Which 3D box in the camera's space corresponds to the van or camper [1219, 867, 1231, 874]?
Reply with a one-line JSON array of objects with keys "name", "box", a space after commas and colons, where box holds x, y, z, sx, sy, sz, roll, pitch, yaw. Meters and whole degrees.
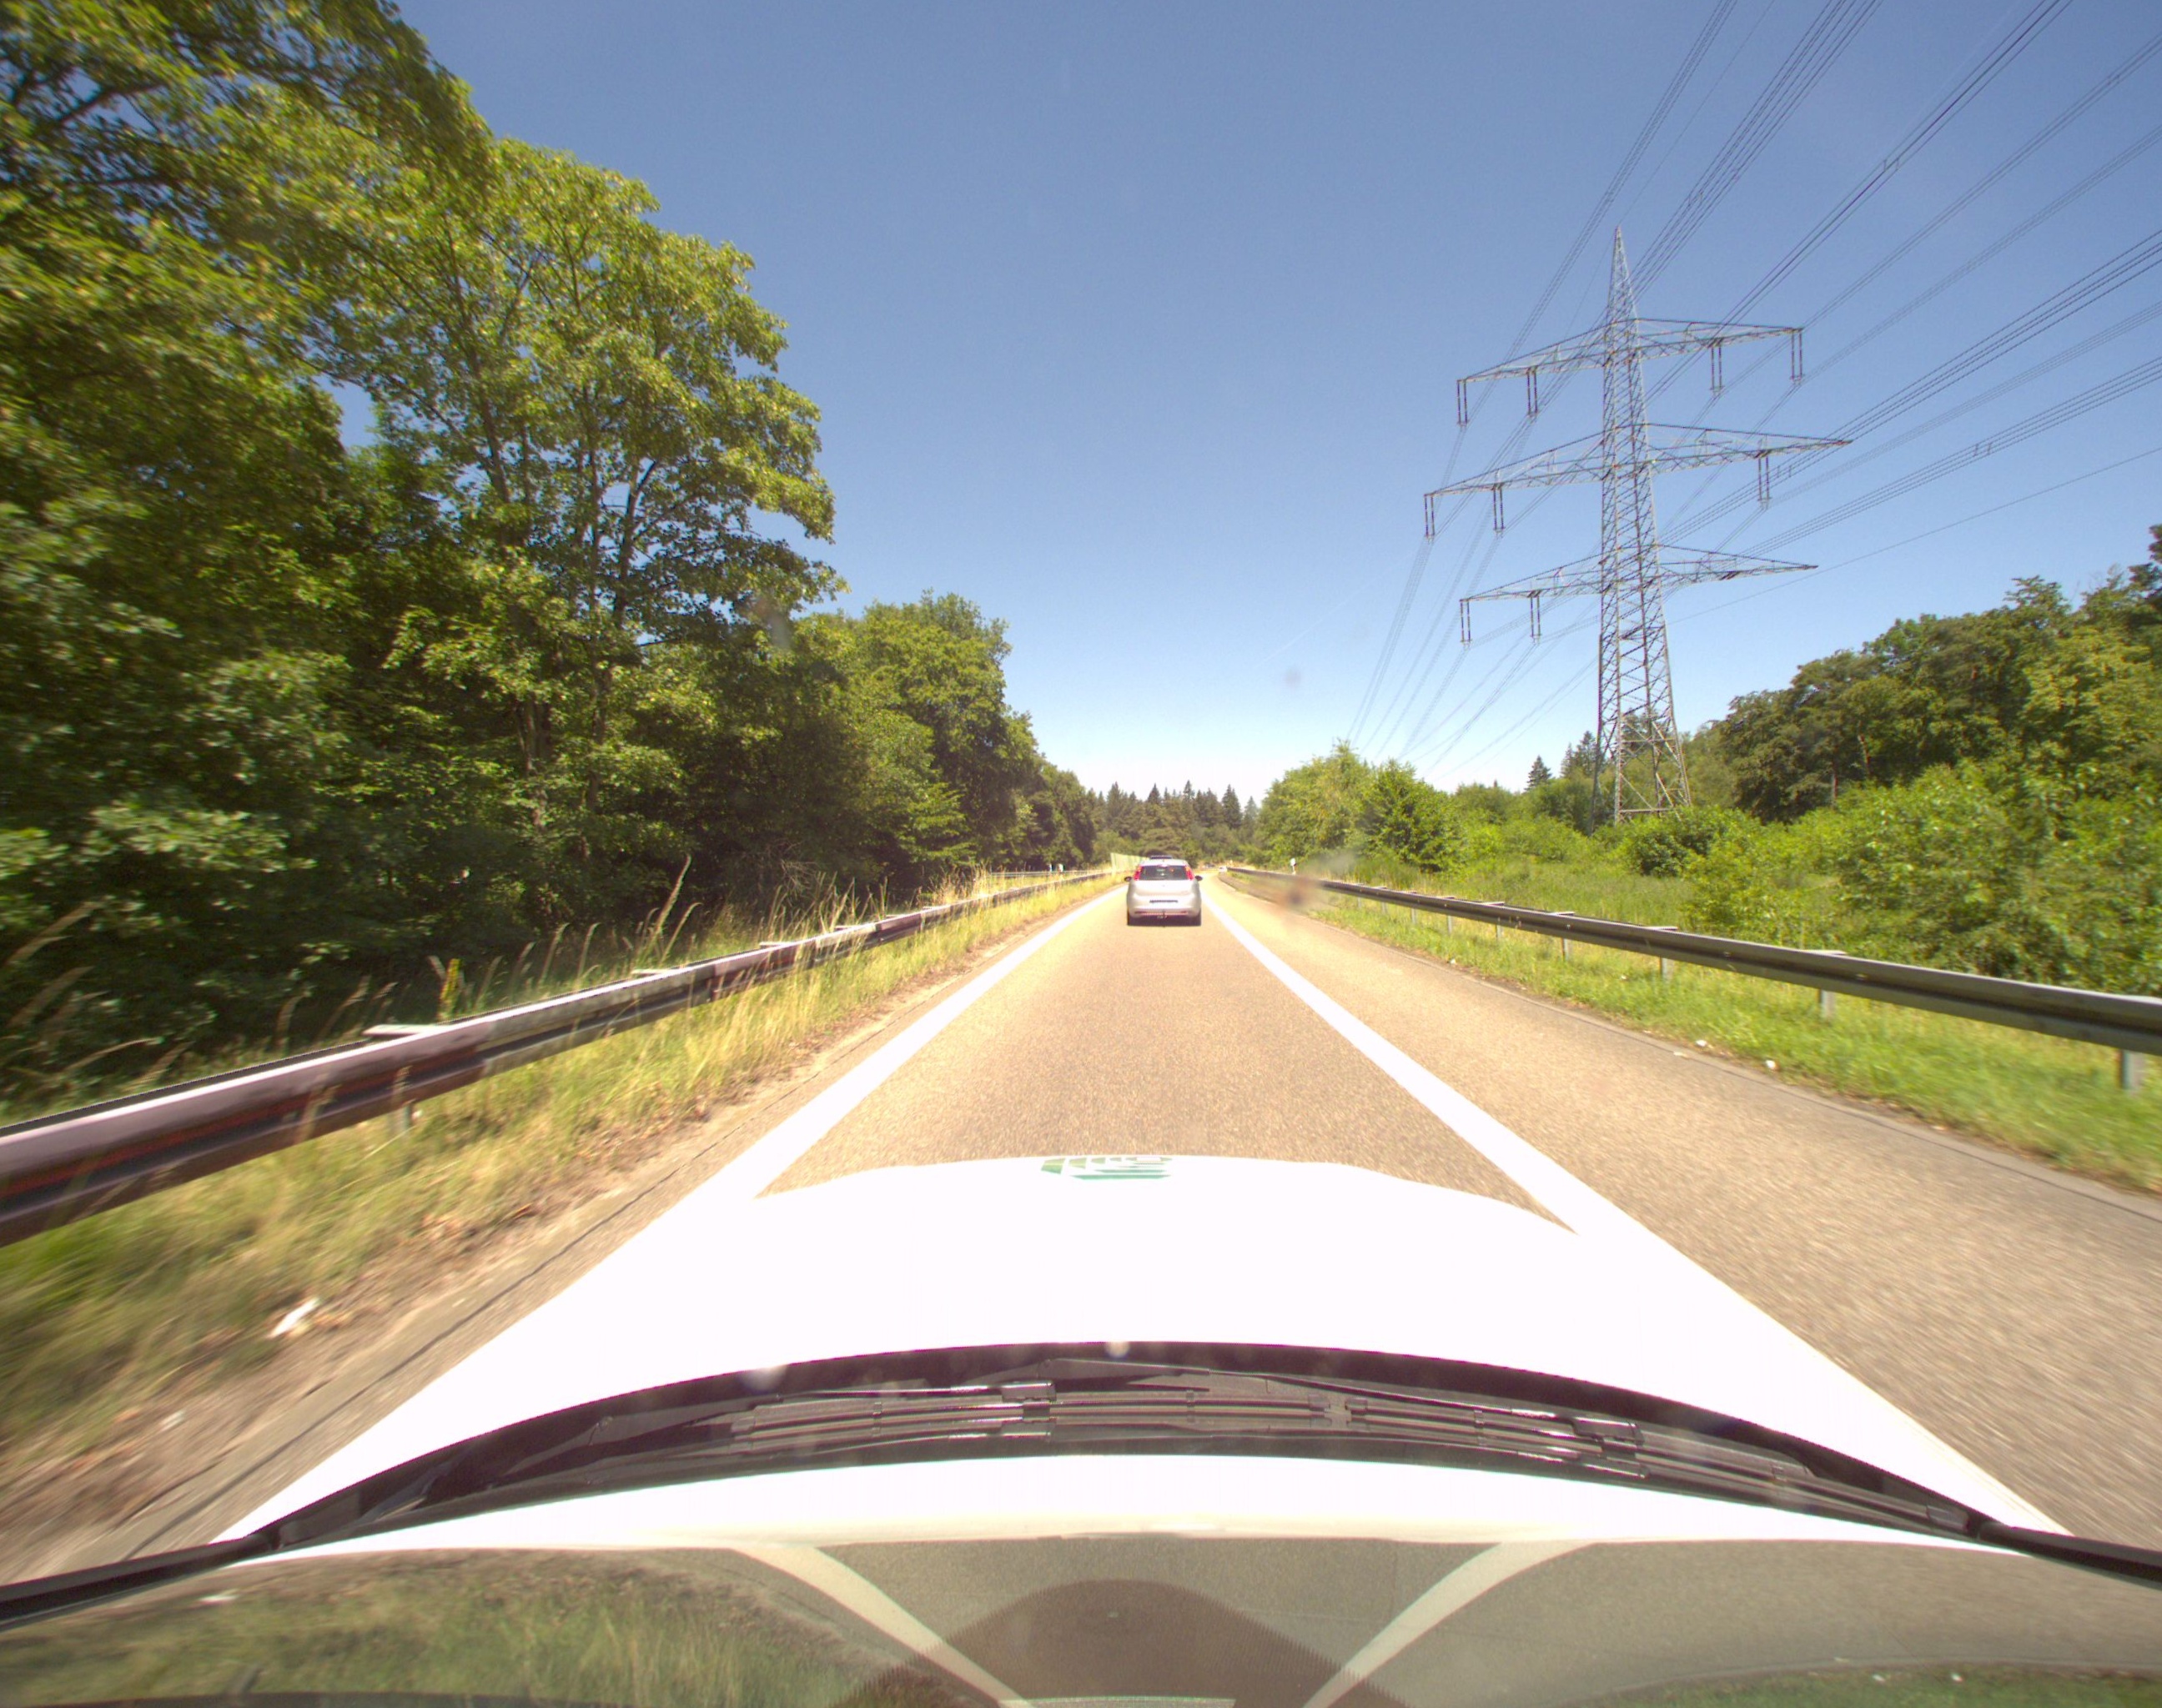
[{"name": "van or camper", "box": [29.769, 3.400, 168.636, 1.792, 1.486, 4.020, -1, -1, 20]}]

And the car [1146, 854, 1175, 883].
[{"name": "car", "box": [4.837, 0.862, 49.764, 1.699, 1.676, 3.401, -1, -1, 4]}]

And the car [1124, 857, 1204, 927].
[{"name": "car", "box": [1.898, 0.840, 19.150, 1.699, 1.482, 3.401, -1, -1, 4]}]

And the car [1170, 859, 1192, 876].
[{"name": "car", "box": [8.886, 1.204, 72.507, 1.699, 1.448, 3.401, -1, -1, 4]}]
